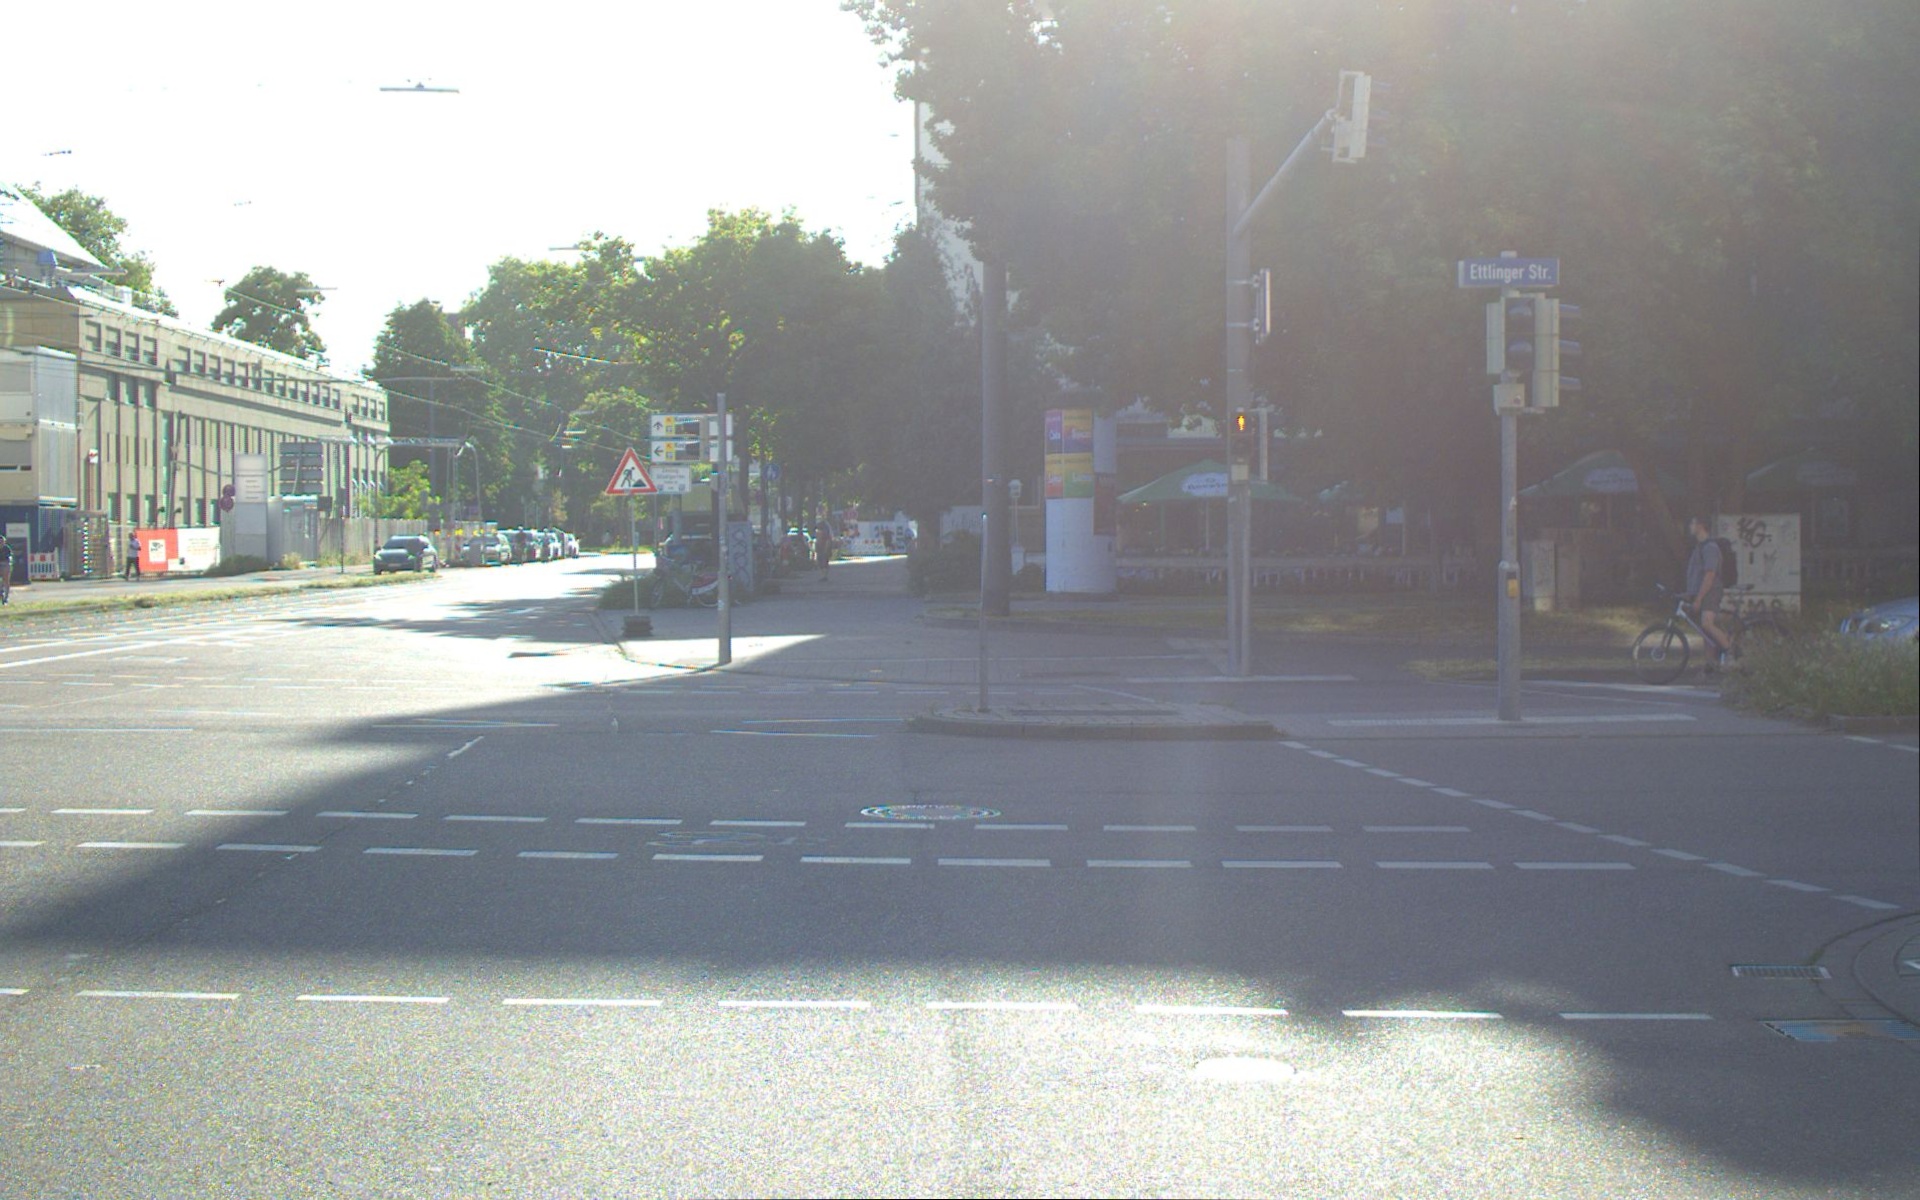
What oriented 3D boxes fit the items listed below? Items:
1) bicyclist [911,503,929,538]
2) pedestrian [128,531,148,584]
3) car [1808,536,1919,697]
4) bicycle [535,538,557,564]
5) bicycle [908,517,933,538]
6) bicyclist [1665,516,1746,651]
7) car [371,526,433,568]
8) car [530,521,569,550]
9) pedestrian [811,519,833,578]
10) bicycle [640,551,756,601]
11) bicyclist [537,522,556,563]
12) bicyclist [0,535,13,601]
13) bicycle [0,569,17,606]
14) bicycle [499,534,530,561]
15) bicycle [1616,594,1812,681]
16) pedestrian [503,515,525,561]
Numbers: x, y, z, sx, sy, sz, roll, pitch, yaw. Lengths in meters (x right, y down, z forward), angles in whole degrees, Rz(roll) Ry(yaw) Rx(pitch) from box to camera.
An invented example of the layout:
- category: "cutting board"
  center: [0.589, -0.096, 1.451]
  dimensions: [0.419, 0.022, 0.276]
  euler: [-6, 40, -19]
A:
- category: "bicyclist"
  center: [-2.315, -4.612, 200.525]
  dimensions: [0.890, 2.007, 0.749]
  euler: [1, 0, -12]
- category: "pedestrian"
  center: [-29.668, -1.539, 124.120]
  dimensions: [0.588, 1.883, 0.478]
  euler: [1, 0, -1]
- category: "car"
  center: [10.829, 0.174, 33.565]
  dimensions: [4.576, 1.511, 2.000]
  euler: [1, 1, 0]
- category: "bicycle"
  center: [-19.586, -2.326, 162.630]
  dimensions: [0.750, 1.201, 3.108]
  euler: [1, 1, -2]
- category: "bicycle"
  center: [-2.308, -4.213, 200.552]
  dimensions: [0.890, 1.215, 2.794]
  euler: [1, 1, -12]
- category: "bicyclist"
  center: [7.883, -0.176, 36.371]
  dimensions: [0.747, 1.401, 0.702]
  euler: [1, 0, 6]
- category: "car"
  center: [-22.020, -2.110, 135.748]
  dimensions: [1.993, 1.593, 4.001]
  euler: [-1, 1, -3]
- category: "car"
  center: [-23.229, -3.655, 194.688]
  dimensions: [1.993, 1.638, 4.001]
  euler: [-1, 1, -4]
- category: "pedestrian"
  center: [-3.920, -1.468, 97.625]
  dimensions: [0.576, 1.683, 0.585]
  euler: [-1, 1, -8]
- category: "bicycle"
  center: [-5.123, -0.475, 67.214]
  dimensions: [2.244, 0.937, 0.654]
  euler: [-1, 1, -5]
- category: "bicyclist"
  center: [-19.554, -2.697, 162.507]
  dimensions: [0.750, 1.913, 1.215]
  euler: [1, 0, -2]
- category: "bicyclist"
  center: [-22.139, -0.735, 79.045]
  dimensions: [0.494, 1.493, 0.666]
  euler: [-1, 1, 2]
- category: "bicycle"
  center: [-22.133, -0.287, 79.122]
  dimensions: [0.494, 0.836, 1.156]
  euler: [-1, 1, 2]
- category: "bicycle"
  center: [-20.324, -2.405, 156.784]
  dimensions: [0.751, 1.201, 3.107]
  euler: [1, 1, 5]
- category: "bicycle"
  center: [7.965, 0.387, 36.372]
  dimensions: [1.944, 0.886, 0.718]
  euler: [1, 0, 6]
- category: "pedestrian"
  center: [-20.360, -2.817, 156.845]
  dimensions: [0.751, 2.056, 1.050]
  euler: [1, 0, 5]
